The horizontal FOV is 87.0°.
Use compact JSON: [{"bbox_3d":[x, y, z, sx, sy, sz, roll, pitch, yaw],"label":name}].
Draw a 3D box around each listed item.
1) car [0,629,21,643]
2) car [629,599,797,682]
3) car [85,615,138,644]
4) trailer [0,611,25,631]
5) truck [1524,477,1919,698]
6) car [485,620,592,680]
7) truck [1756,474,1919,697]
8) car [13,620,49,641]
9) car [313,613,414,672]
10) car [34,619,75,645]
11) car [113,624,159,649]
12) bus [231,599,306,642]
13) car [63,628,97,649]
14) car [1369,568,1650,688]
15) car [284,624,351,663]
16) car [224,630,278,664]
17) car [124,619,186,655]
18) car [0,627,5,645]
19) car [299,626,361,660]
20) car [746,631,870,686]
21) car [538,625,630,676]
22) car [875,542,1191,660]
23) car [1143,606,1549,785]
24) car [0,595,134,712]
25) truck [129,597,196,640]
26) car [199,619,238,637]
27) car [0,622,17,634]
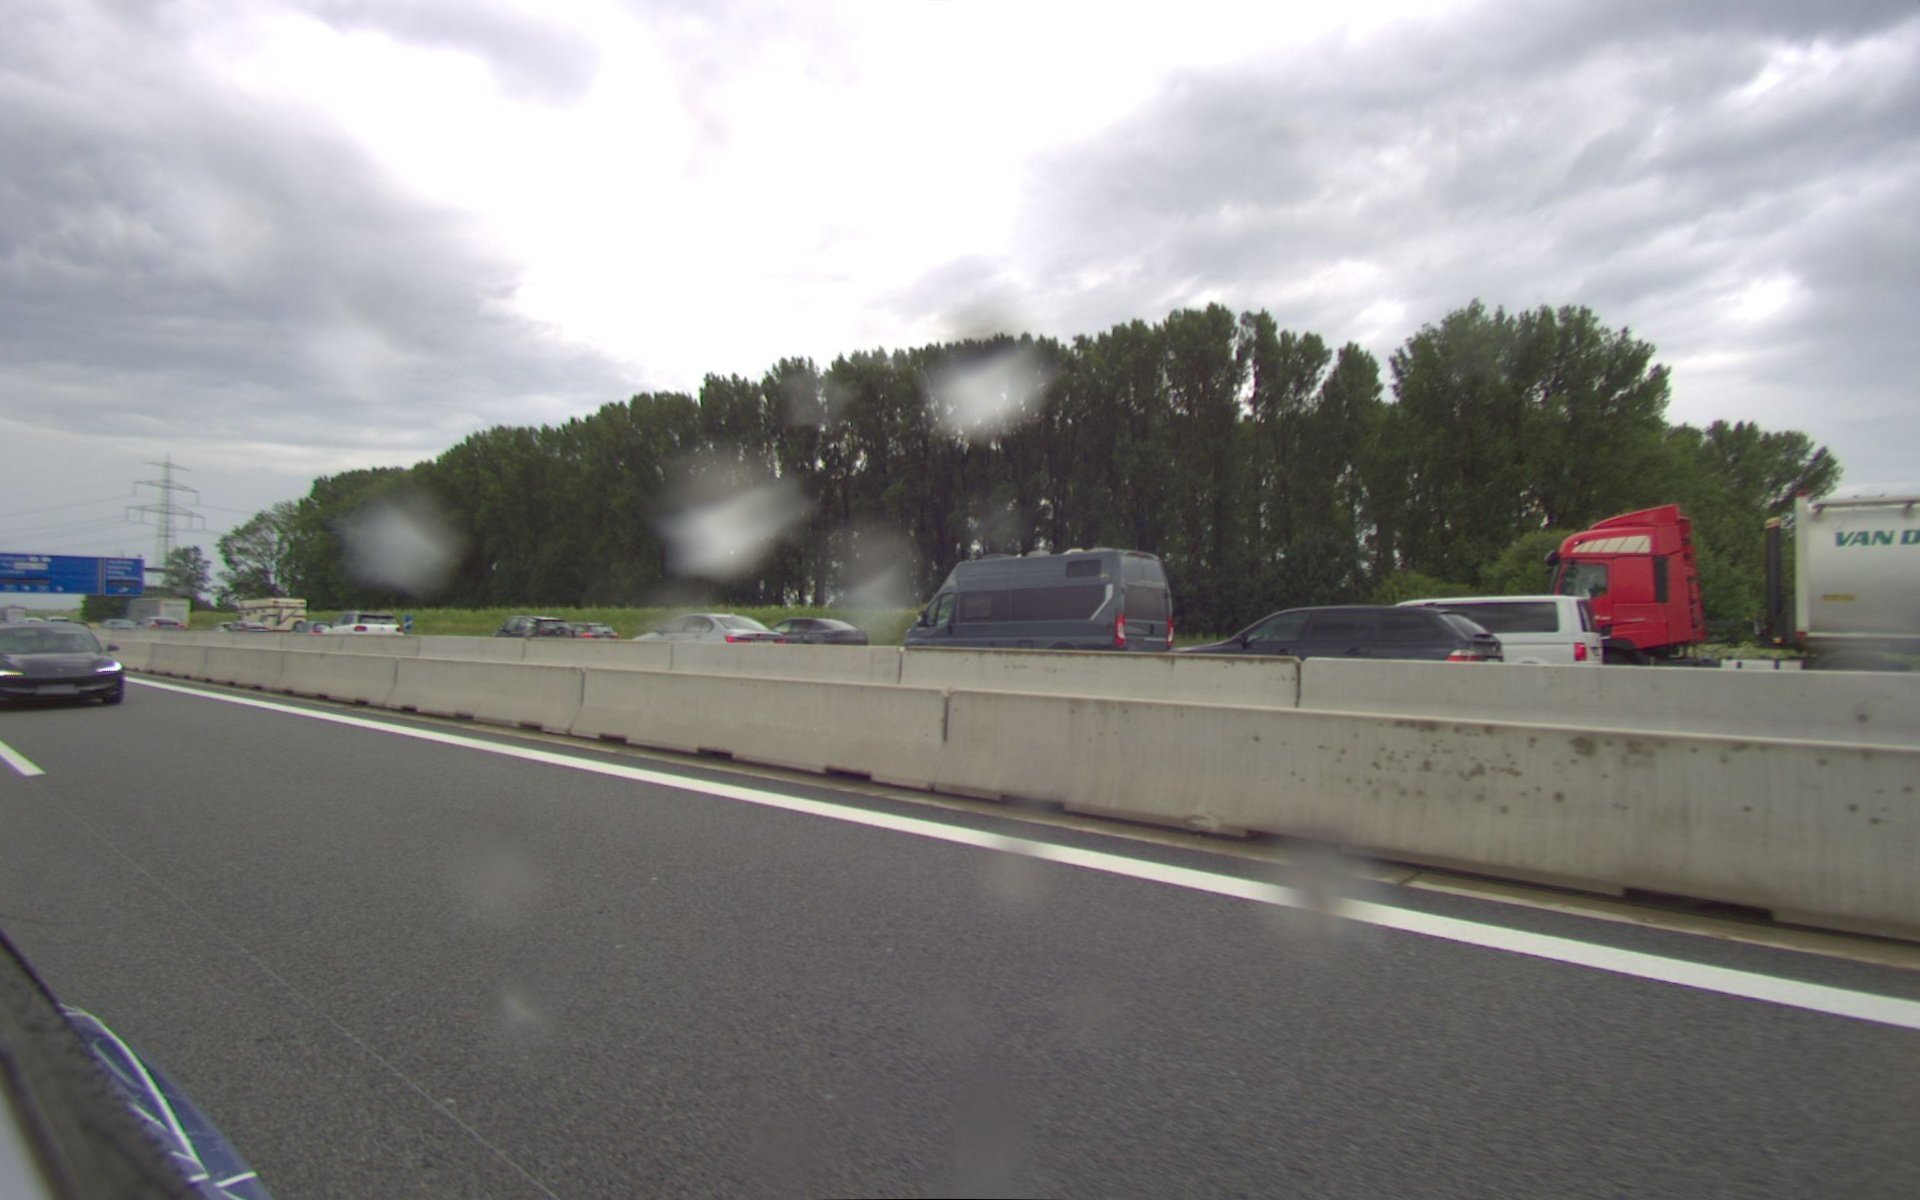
[{"bbox_3d":[-118.362,4.457,125.787,5.075,1.717,1.973,-2,-2,41],"label":"car"},{"bbox_3d":[-5.688,0.877,23.081,3.999,1.732,1.785,-1,-1,42],"label":"car"},{"bbox_3d":[-58.385,2.011,69.603,4.631,1.869,1.974,-1,-1,39],"label":"car"},{"bbox_3d":[-172.593,3.851,183.233,14.439,3.534,3.078,-1,-1,40],"label":"trailer"},{"bbox_3d":[15.177,-0.163,20.171,6.317,3.740,3.117,-1,-1,42],"label":"truck"},{"bbox_3d":[-15.371,1.765,36.846,4.226,2.029,1.972,-1,-1,42],"label":"car"},{"bbox_3d":[20.600,-0.318,15.298,13.294,3.774,3.115,-1,-1,42],"label":"truck"},{"bbox_3d":[-88.613,2.910,96.536,5.075,1.867,1.973,-2,-2,41],"label":"car"},{"bbox_3d":[-21.865,1.502,37.042,4.262,2.029,1.973,-1,-1,41],"label":"car"},{"bbox_3d":[-74.778,2.616,83.554,4.761,2.029,1.973,-1,-1,41],"label":"car"},{"bbox_3d":[-63.759,2.809,78.261,4.635,1.842,1.973,-1,-1,41],"label":"car"},{"bbox_3d":[-56.945,1.699,83.192,9.960,3.358,2.801,-1,-1,42],"label":"bus"},{"bbox_3d":[-89.438,3.891,102.800,4.635,1.948,1.973,-1,-1,41],"label":"car"},{"bbox_3d":[10.079,0.499,18.732,4.211,1.962,1.972,-1,-1,42],"label":"car"},{"bbox_3d":[-35.008,2.338,55.107,4.533,2.029,1.831,-1,-1,40],"label":"car"},{"bbox_3d":[-43.962,2.875,62.698,3.997,2.029,1.786,-1,-1,40],"label":"car"},{"bbox_3d":[-48.297,2.179,60.680,5.178,2.029,1.973,-1,-1,40],"label":"car"},{"bbox_3d":[-103.937,3.834,108.369,5.183,1.912,1.973,-1,-1,41],"label":"car"},{"bbox_3d":[-39.826,2.674,63.969,4.805,2.029,1.973,-1,-1,40],"label":"car"},{"bbox_3d":[-4.759,1.768,31.420,3.998,1.533,1.599,-1,-1,41],"label":"car"},{"bbox_3d":[-16.151,2.124,43.407,4.226,2.029,1.972,-1,-1,42],"label":"car"},{"bbox_3d":[1.339,0.078,21.721,6.815,2.181,2.235,-1,-1,42],"label":"car"},{"bbox_3d":[5.002,1.107,13.562,4.695,1.982,1.972,-1,-1,42],"label":"car"},{"bbox_3d":[-16.526,0.882,18.148,5.162,1.834,1.972,-1,-1,43],"label":"car"},{"bbox_3d":[-86.358,1.998,109.445,13.943,4.345,3.115,-1,-1,41],"label":"truck"},{"bbox_3d":[-70.937,2.672,96.781,4.397,1.630,1.974,-1,-1,39],"label":"car"},{"bbox_3d":[-130.258,3.842,138.050,3.997,1.631,1.866,-1,-1,40],"label":"car"}]
